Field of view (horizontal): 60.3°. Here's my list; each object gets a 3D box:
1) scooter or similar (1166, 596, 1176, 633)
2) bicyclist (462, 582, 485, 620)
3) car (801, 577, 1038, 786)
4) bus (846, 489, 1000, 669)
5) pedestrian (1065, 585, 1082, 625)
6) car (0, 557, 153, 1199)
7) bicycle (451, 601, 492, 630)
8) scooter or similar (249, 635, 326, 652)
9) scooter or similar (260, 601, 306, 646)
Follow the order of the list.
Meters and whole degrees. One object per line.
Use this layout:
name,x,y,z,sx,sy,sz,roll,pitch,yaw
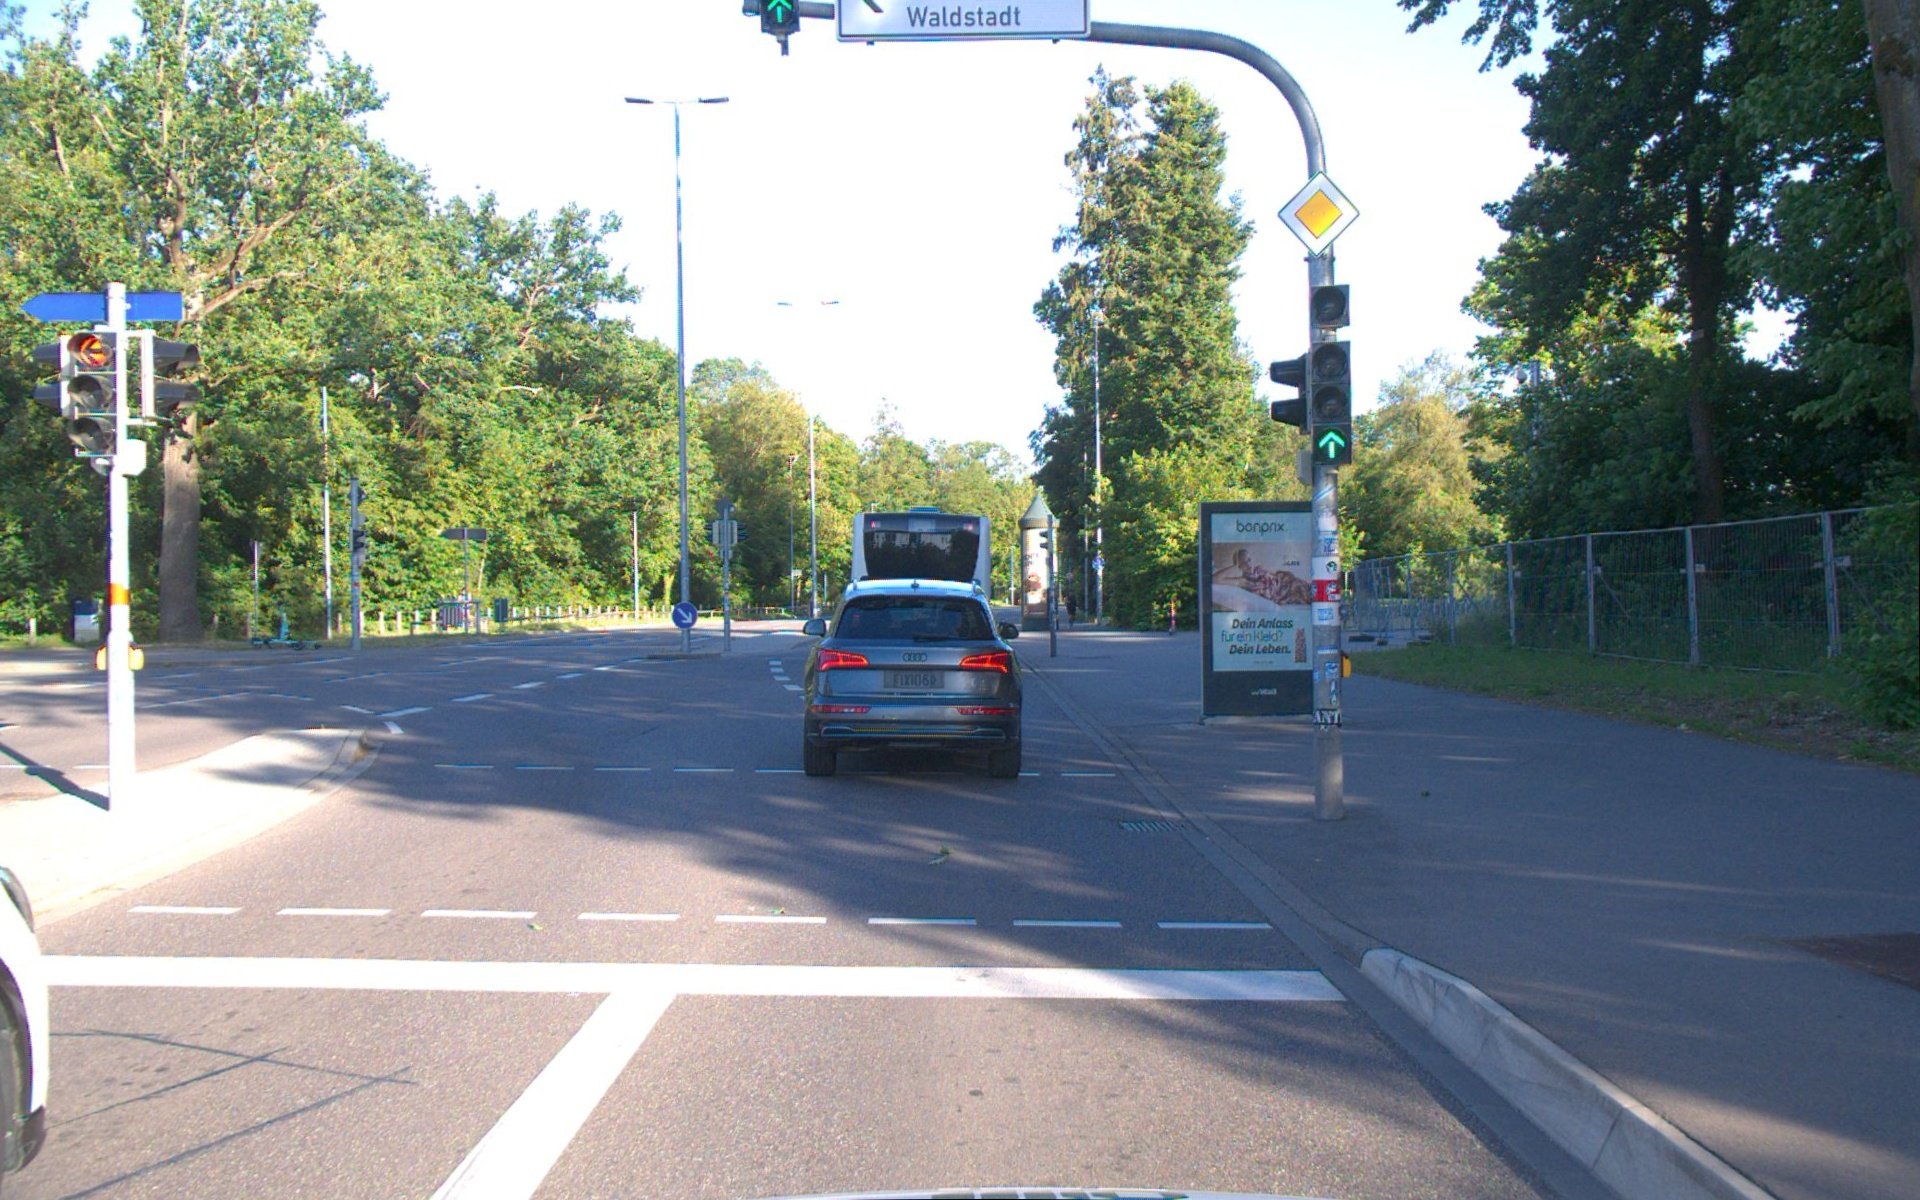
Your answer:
scooter or similar,7.085,0.471,55.422,0.275,1.192,1.410,-2,0,8
bicyclist,-20.580,0.032,69.988,0.550,1.578,0.801,1,2,17
car,-0.362,0.641,15.401,1.854,1.633,4.543,1,0,-1
bus,-0.744,-0.356,34.802,2.635,3.096,12.038,1,0,-1
pedestrian,4.864,0.209,70.966,0.612,1.718,0.883,1,0,9
car,-2.756,0.687,1.700,1.796,1.539,4.299,0,0,-1
bicycle,-20.621,0.648,69.896,0.665,1.174,1.986,1,2,17
scooter or similar,-17.037,1.099,41.934,1.377,0.345,1.261,-1,1,7
scooter or similar,-17.762,0.615,43.427,1.044,1.166,0.394,-1,1,7
